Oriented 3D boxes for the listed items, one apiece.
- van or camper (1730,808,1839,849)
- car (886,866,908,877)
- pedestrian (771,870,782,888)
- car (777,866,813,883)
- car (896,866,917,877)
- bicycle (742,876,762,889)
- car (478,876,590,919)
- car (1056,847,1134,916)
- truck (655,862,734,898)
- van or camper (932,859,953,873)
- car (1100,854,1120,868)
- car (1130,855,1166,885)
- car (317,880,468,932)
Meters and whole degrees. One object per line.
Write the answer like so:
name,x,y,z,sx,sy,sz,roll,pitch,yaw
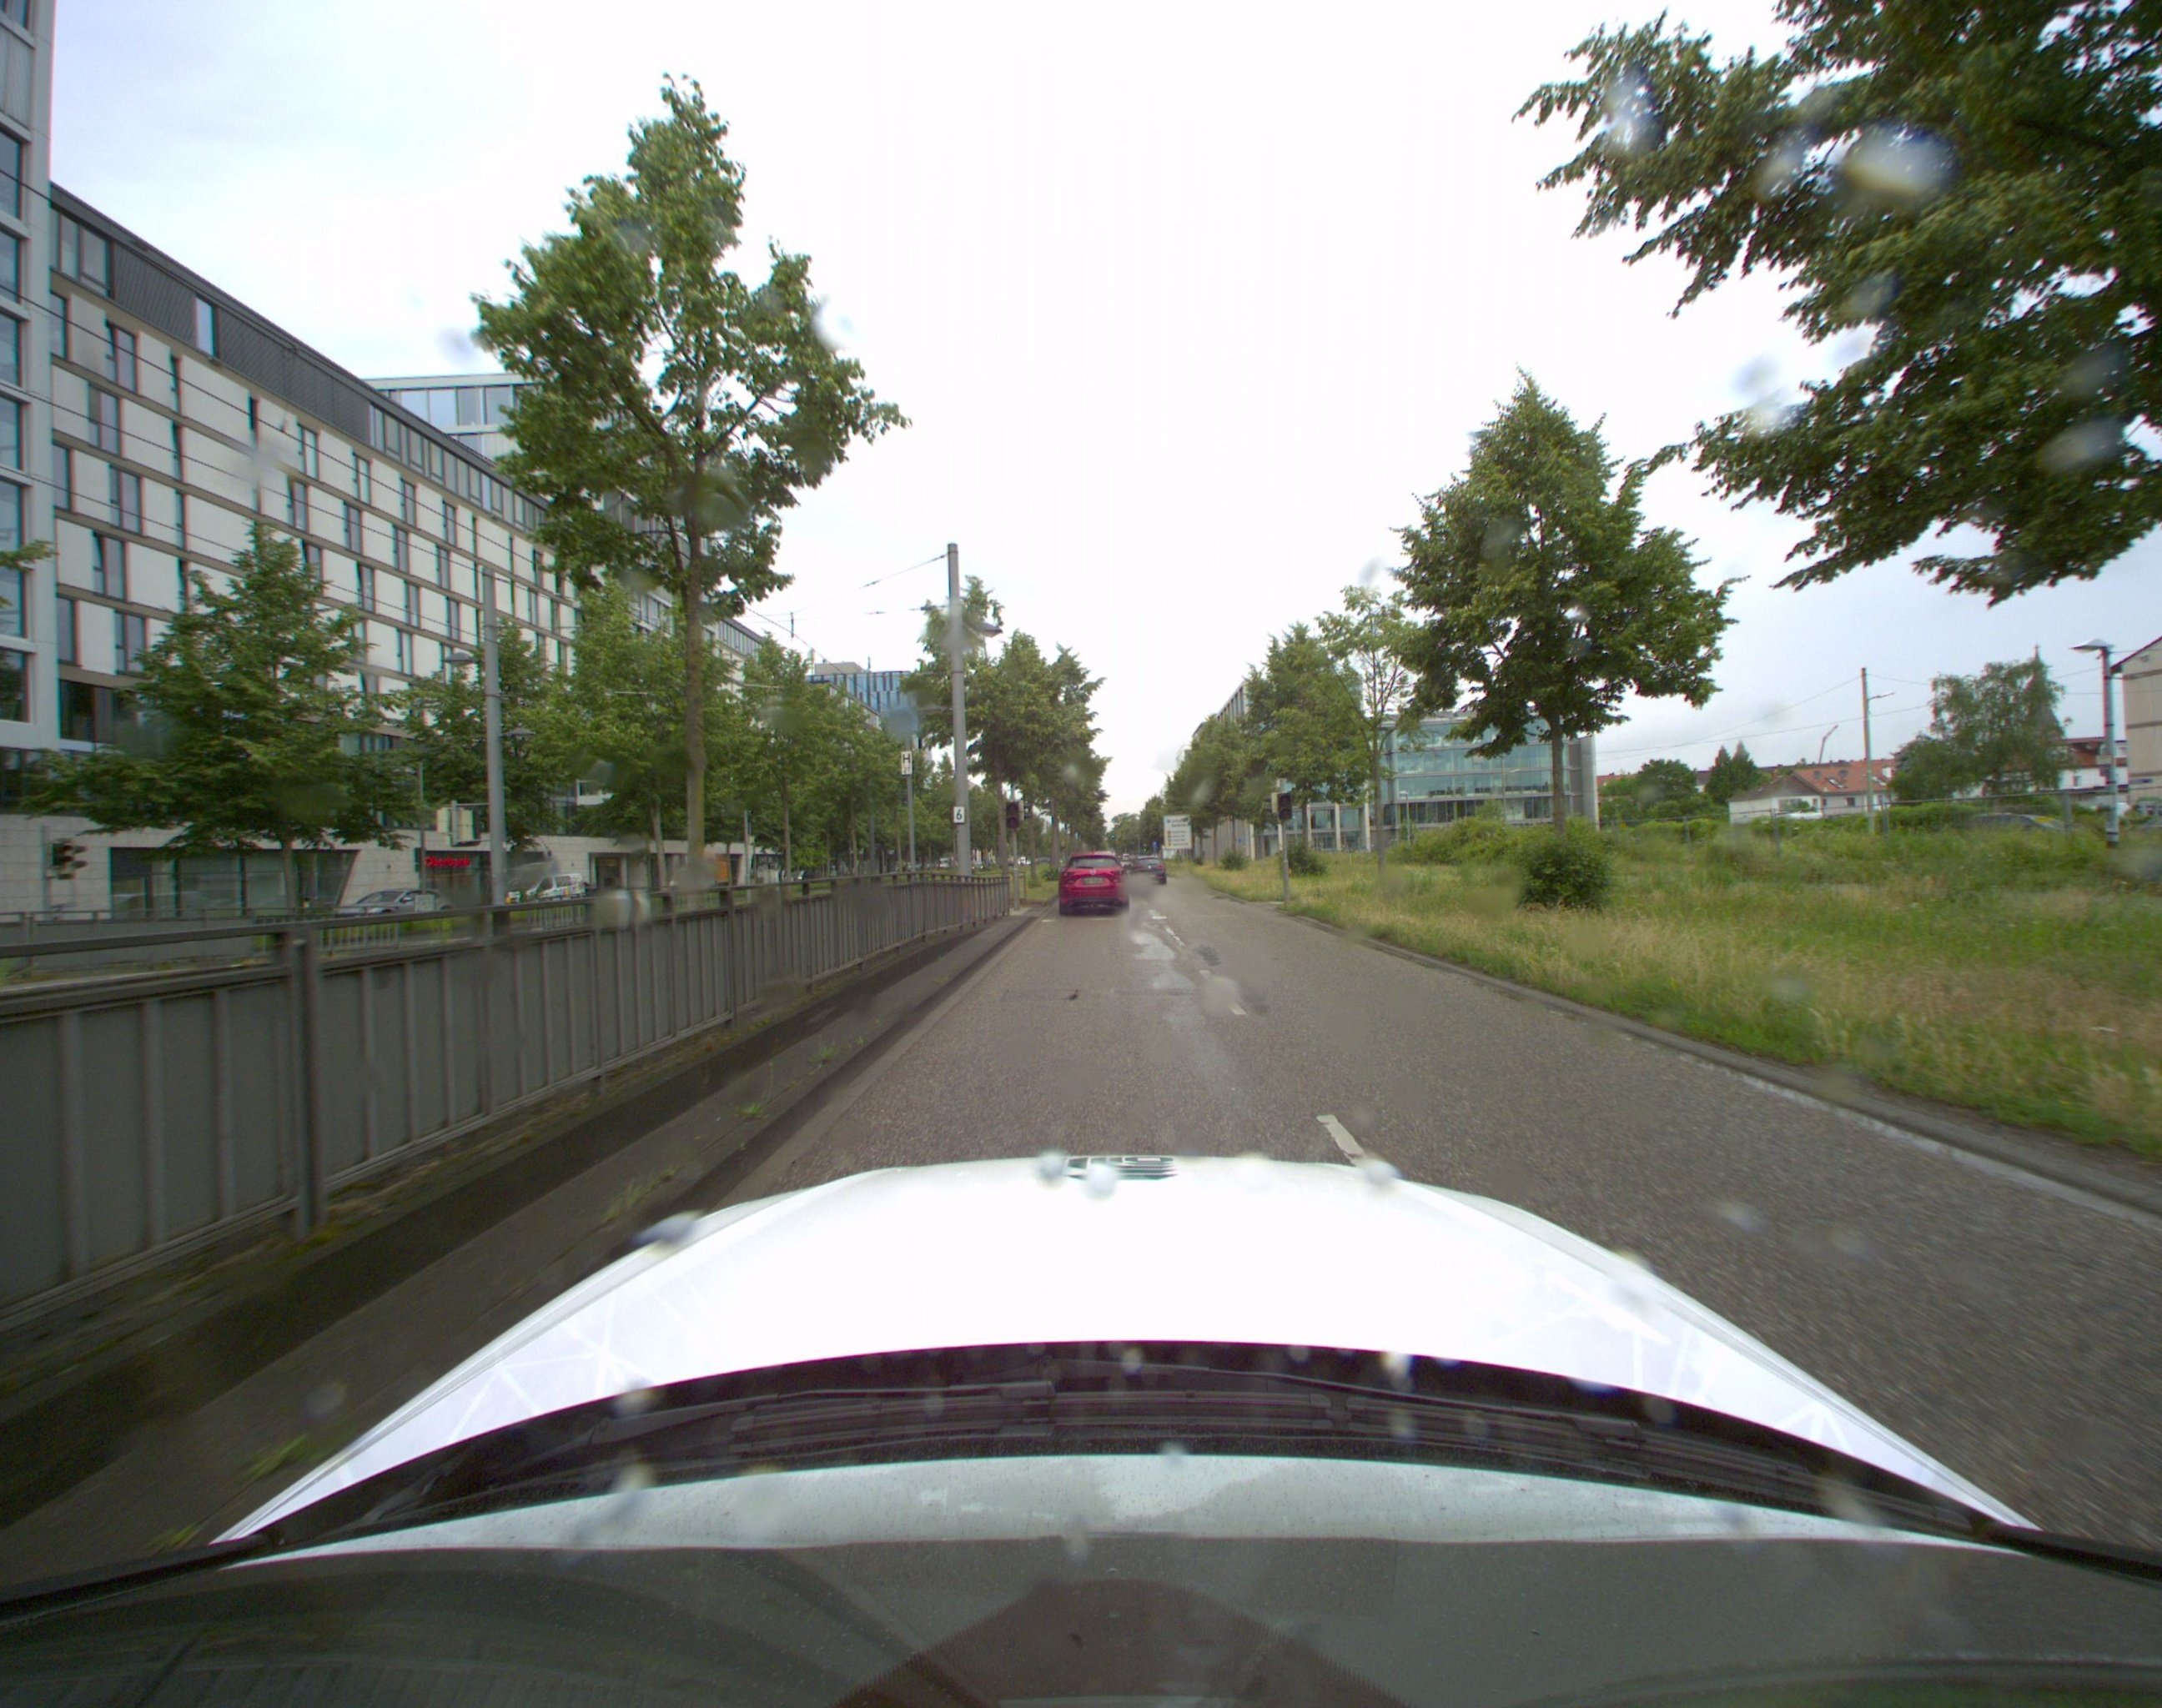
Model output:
van or camper,56.827,-2.002,66.035,2.898,2.994,6.775,-2,0,-1
car,-25.108,2.331,111.292,1.986,1.378,4.001,-1,0,1
pedestrian,-35.327,2.872,94.462,0.789,1.981,0.858,-2,0,9
car,-26.492,1.885,75.611,1.848,1.465,3.989,-1,0,1
car,-25.251,2.511,117.912,1.986,1.378,4.001,-2,0,1
bicycle,-24.934,2.156,61.771,0.596,0.945,1.759,-2,0,5
car,-27.435,2.112,41.101,1.986,1.852,5.165,-2,0,1
car,0.391,0.703,22.408,1.891,1.677,4.001,-2,0,1
truck,-27.391,1.802,58.073,2.417,2.291,6.311,-2,0,1
van or camper,-24.579,2.040,144.531,2.424,2.315,5.852,-2,0,2
car,2.962,0.702,84.431,1.961,1.437,4.552,-1,0,0
car,3.477,0.798,42.500,1.736,1.465,3.784,-2,0,3
car,-27.454,2.016,32.727,2.137,1.712,4.465,-2,0,1
